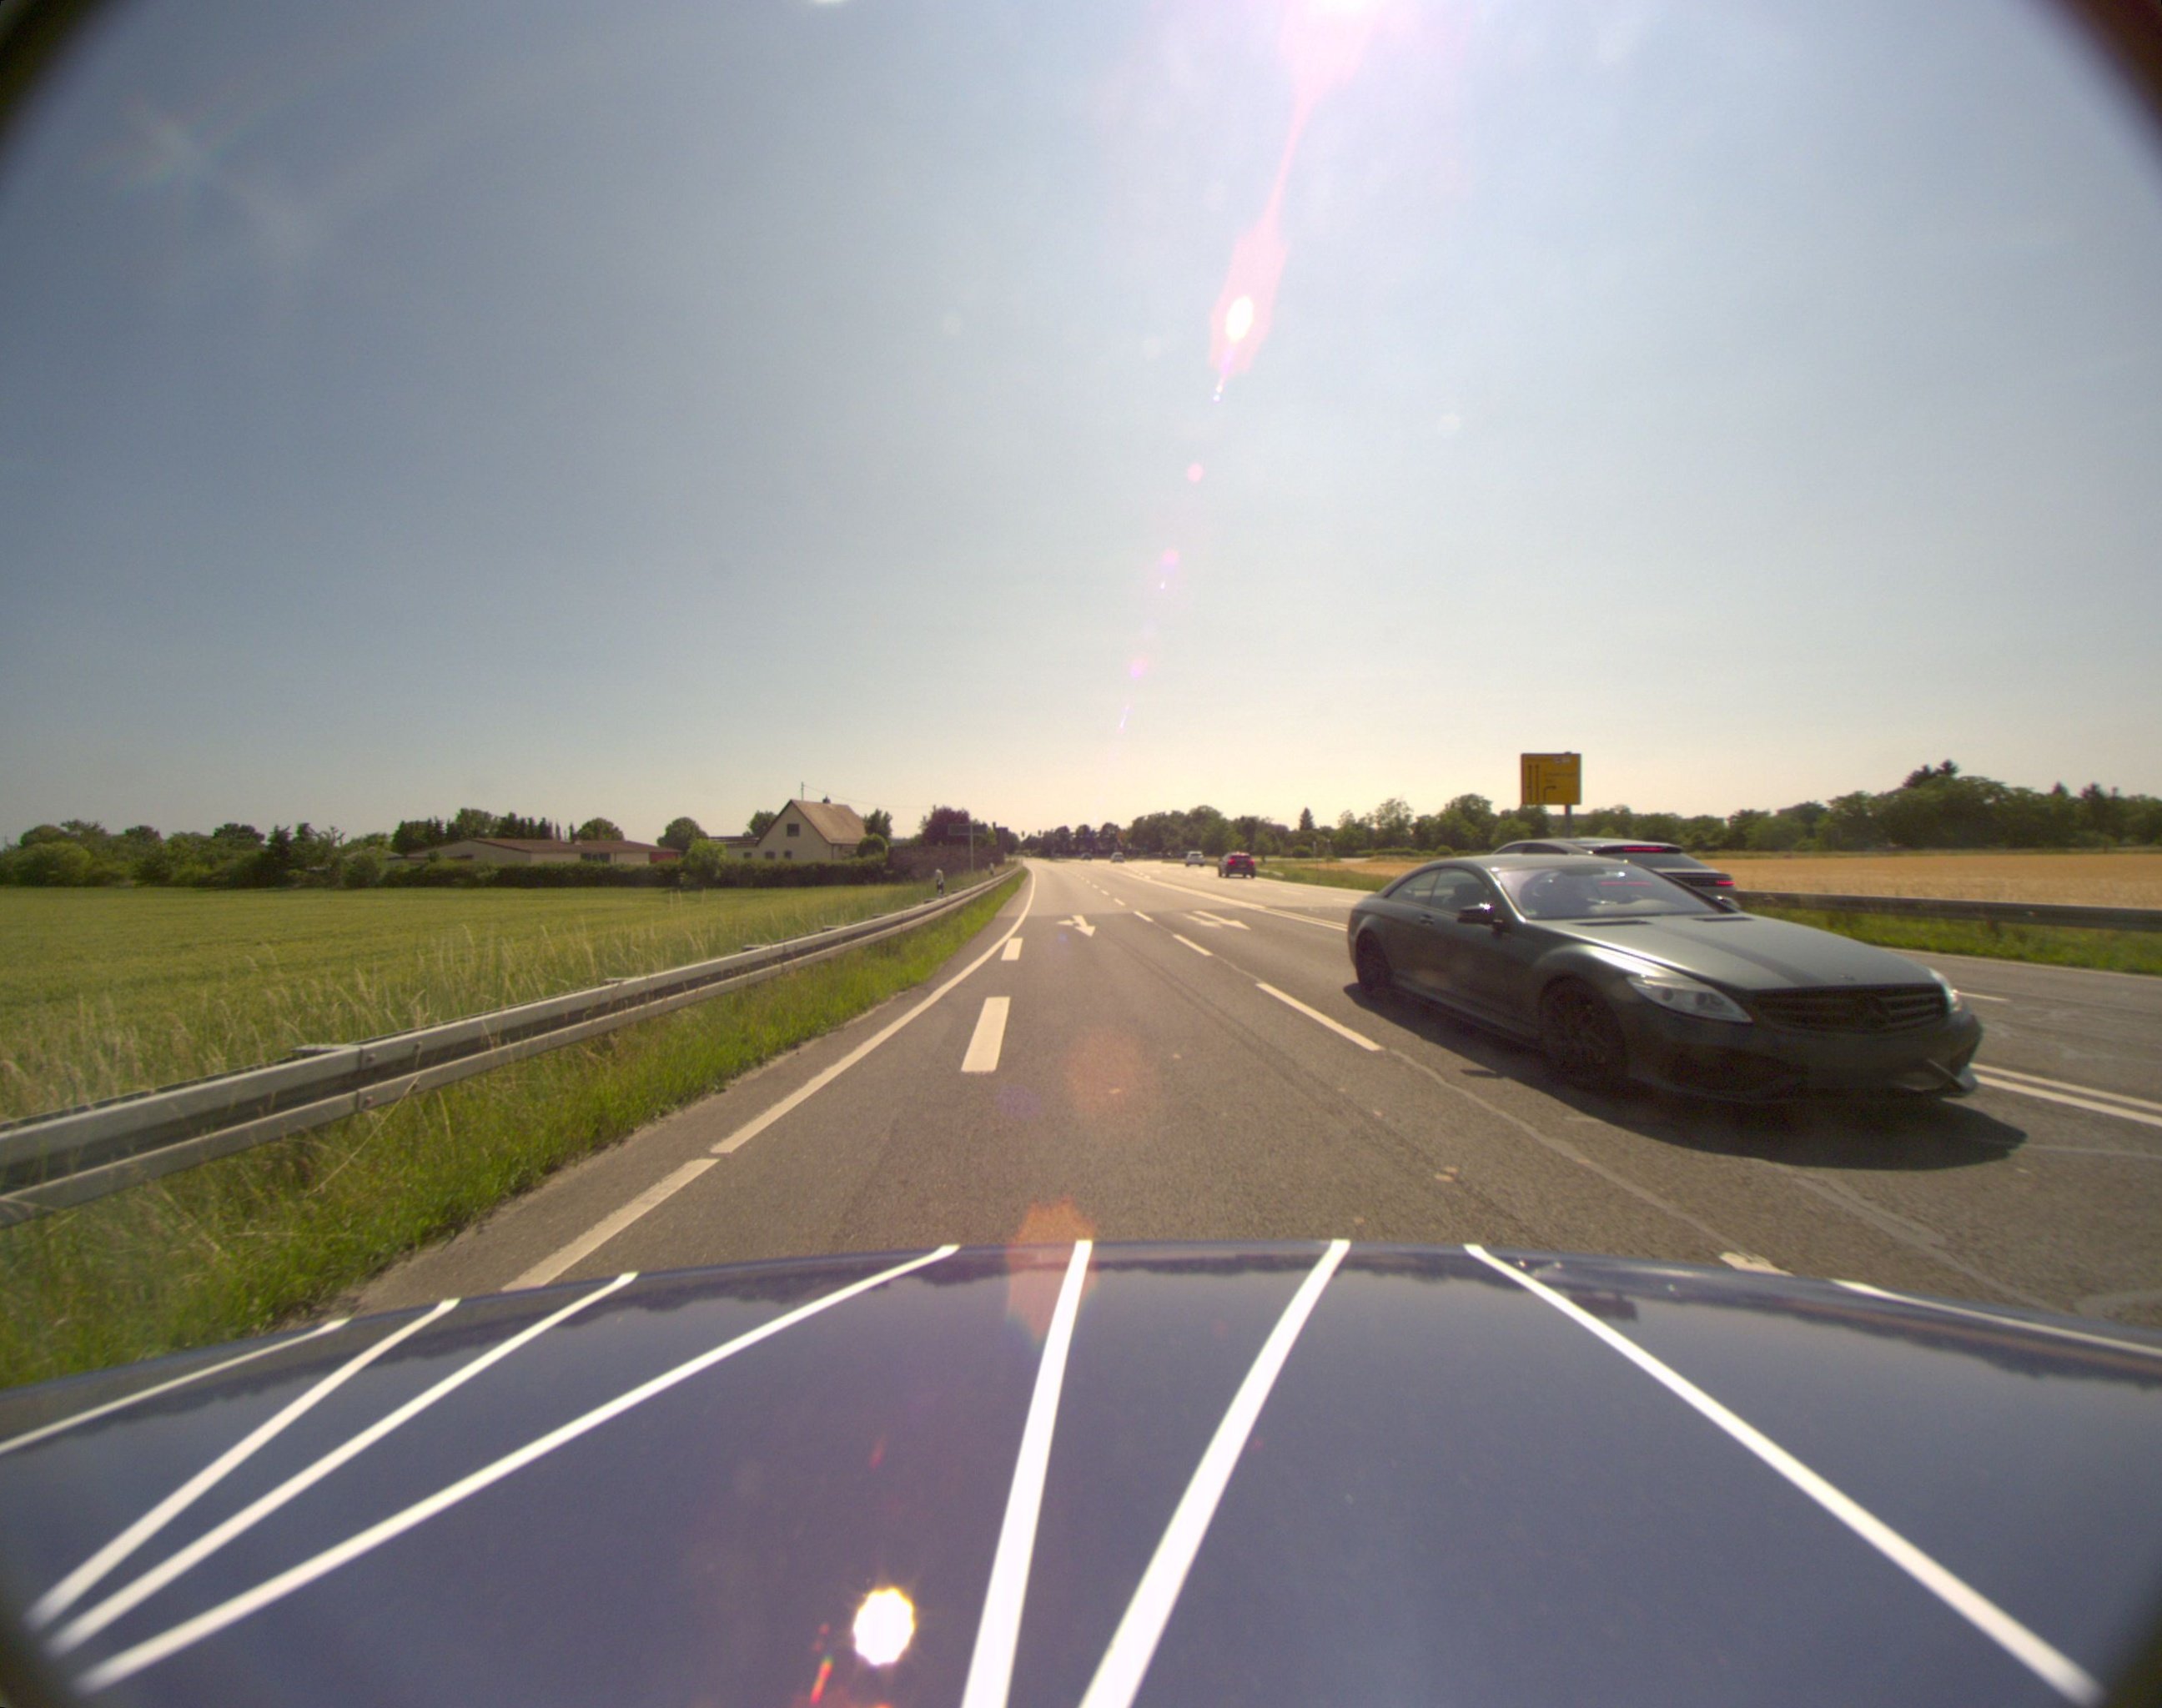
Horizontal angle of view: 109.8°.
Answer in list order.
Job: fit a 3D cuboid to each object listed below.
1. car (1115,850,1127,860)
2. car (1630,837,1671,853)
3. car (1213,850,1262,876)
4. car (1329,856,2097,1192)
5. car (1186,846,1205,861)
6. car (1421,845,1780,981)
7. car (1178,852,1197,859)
[{"bbox_3d":[5.902,0.125,112.325,1.753,1.433,4.082,-1,0,3],"label":"car"},{"bbox_3d":[112.581,-1.705,150.288,6.375,2.893,2.000,-2,2,5],"label":"car"},{"bbox_3d":[9.864,0.530,48.246,1.999,1.553,4.309,0,1,-2],"label":"car"},{"bbox_3d":[3.798,0.800,6.003,1.816,1.441,4.875,-2,1,-3],"label":"car"},{"bbox_3d":[13.021,-0.102,86.385,1.669,1.667,4.463,1,0,2],"label":"car"},{"bbox_3d":[7.279,0.697,11.473,1.845,1.578,4.873,2,0,-3],"label":"car"},{"bbox_3d":[22.760,0.310,162.422,3.875,1.379,1.636,-1,0,7],"label":"car"}]
